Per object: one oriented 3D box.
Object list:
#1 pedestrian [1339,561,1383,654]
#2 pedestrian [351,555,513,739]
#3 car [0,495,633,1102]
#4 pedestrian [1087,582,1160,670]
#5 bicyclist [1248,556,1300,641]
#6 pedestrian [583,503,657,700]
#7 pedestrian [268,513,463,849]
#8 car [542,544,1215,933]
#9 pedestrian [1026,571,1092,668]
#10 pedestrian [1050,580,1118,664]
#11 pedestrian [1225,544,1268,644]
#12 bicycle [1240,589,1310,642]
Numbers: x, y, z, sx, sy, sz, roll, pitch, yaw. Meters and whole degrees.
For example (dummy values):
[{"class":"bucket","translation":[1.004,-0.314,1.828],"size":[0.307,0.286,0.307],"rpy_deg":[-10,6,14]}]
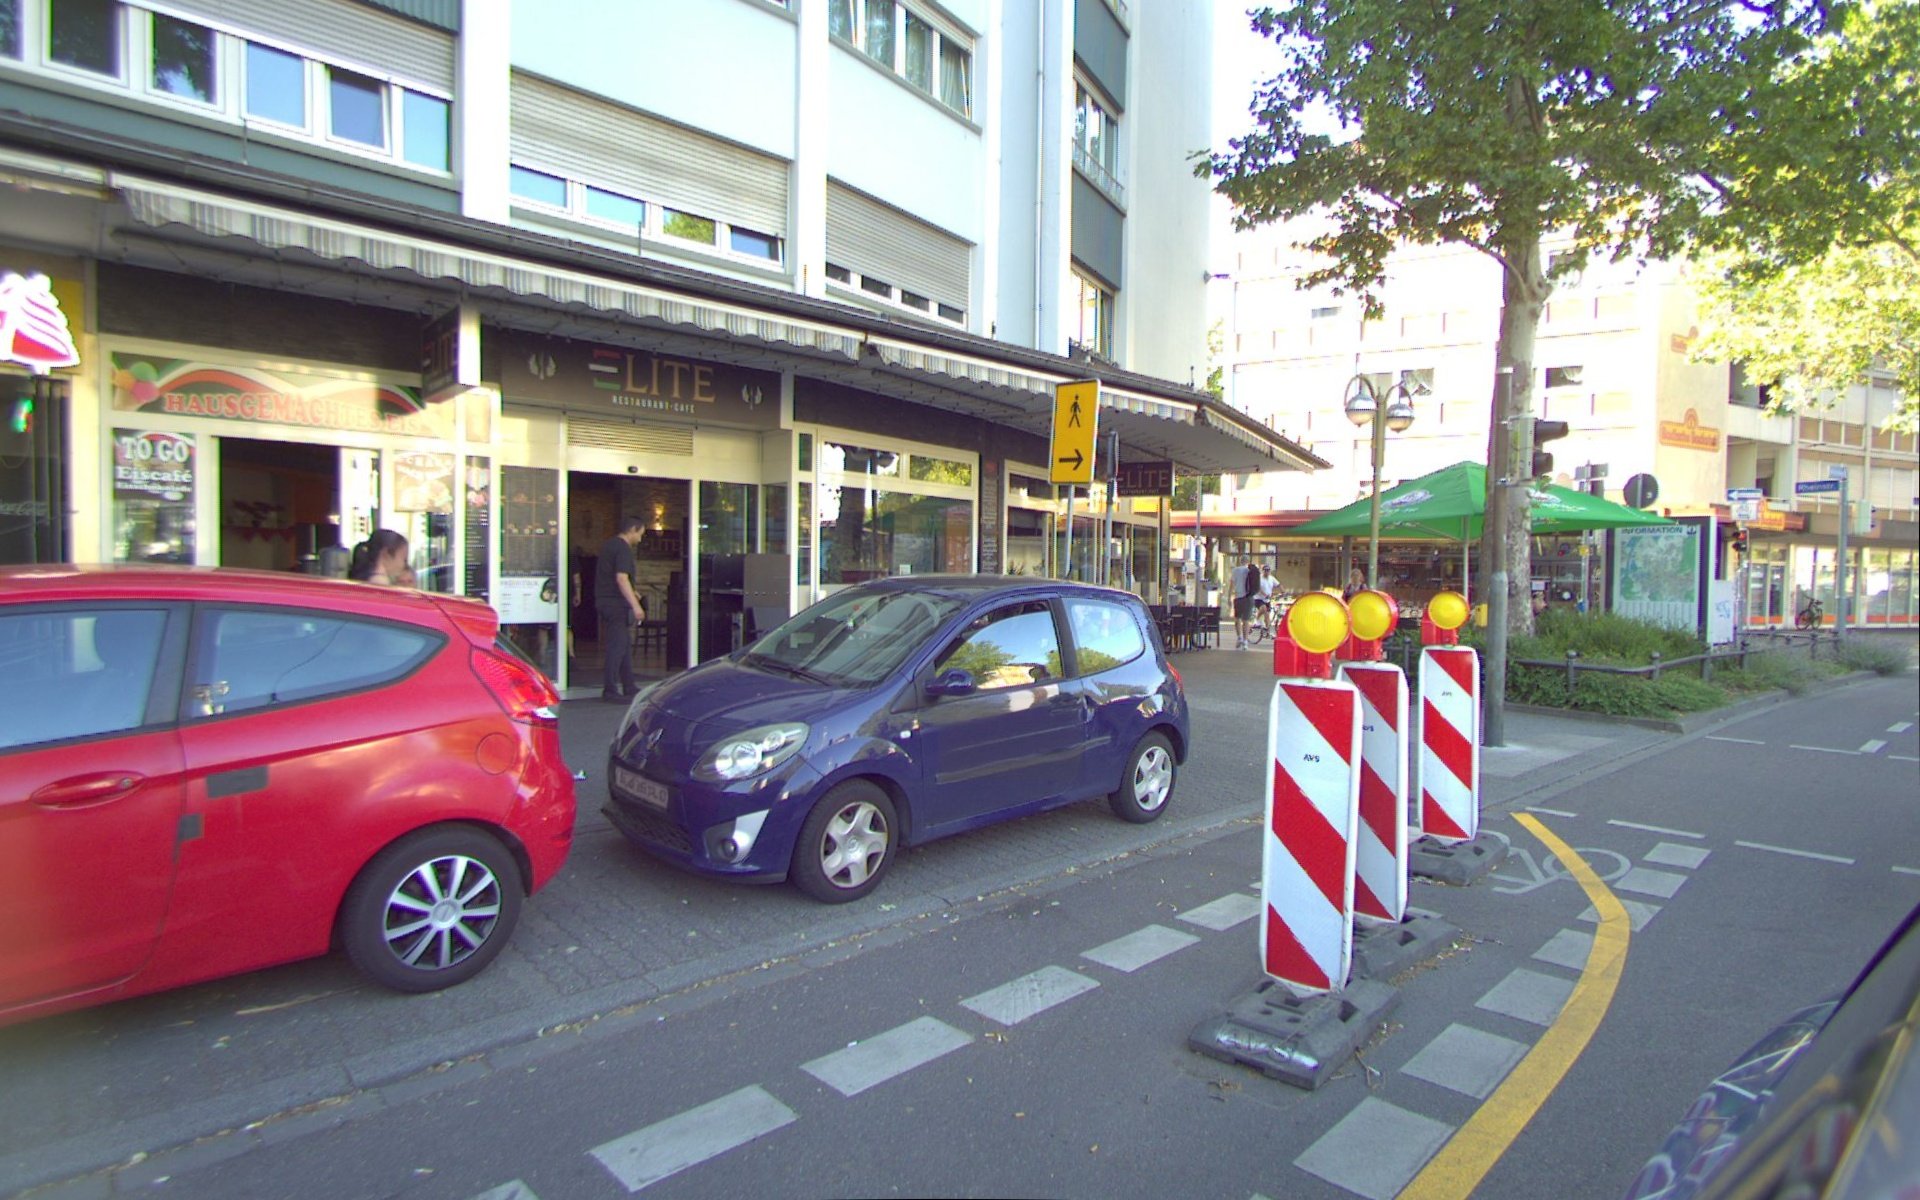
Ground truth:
[{"class":"pedestrian","translation":[7.338,0.122,18.536],"size":[0.624,1.657,0.525],"rpy_deg":[2,1,34]},{"class":"pedestrian","translation":[-4.266,0.324,8.158],"size":[0.937,1.352,1.069],"rpy_deg":[0,2,-41]},{"class":"car","translation":[-3.241,0.473,3.239],"size":[3.761,1.614,1.784],"rpy_deg":[-1,5,-45]},{"class":"pedestrian","translation":[2.325,0.352,14.484],"size":[0.685,1.207,0.881],"rpy_deg":[0,1,-18]},{"class":"bicyclist","translation":[7.044,-0.042,22.746],"size":[0.738,1.849,0.927],"rpy_deg":[1,1,-9]},{"class":"pedestrian","translation":[-3.203,-0.001,9.539],"size":[0.547,1.800,0.395],"rpy_deg":[-1,4,-43]},{"class":"pedestrian","translation":[-3.214,0.382,5.483],"size":[0.783,1.666,0.583],"rpy_deg":[-2,3,-42]},{"class":"car","translation":[-0.295,0.504,5.892],"size":[3.551,1.485,1.769],"rpy_deg":[-1,5,-44]},{"class":"pedestrian","translation":[1.378,0.258,14.230],"size":[0.685,1.323,0.793],"rpy_deg":[1,1,-13]},{"class":"pedestrian","translation":[1.858,0.308,15.189],"size":[0.776,1.207,0.648],"rpy_deg":[0,2,-34]},{"class":"pedestrian","translation":[5.849,-0.128,20.653],"size":[0.643,1.983,0.880],"rpy_deg":[1,1,29]},{"class":"bicycle","translation":[7.046,0.328,22.747],"size":[0.736,1.144,1.889],"rpy_deg":[1,0,-9]}]
